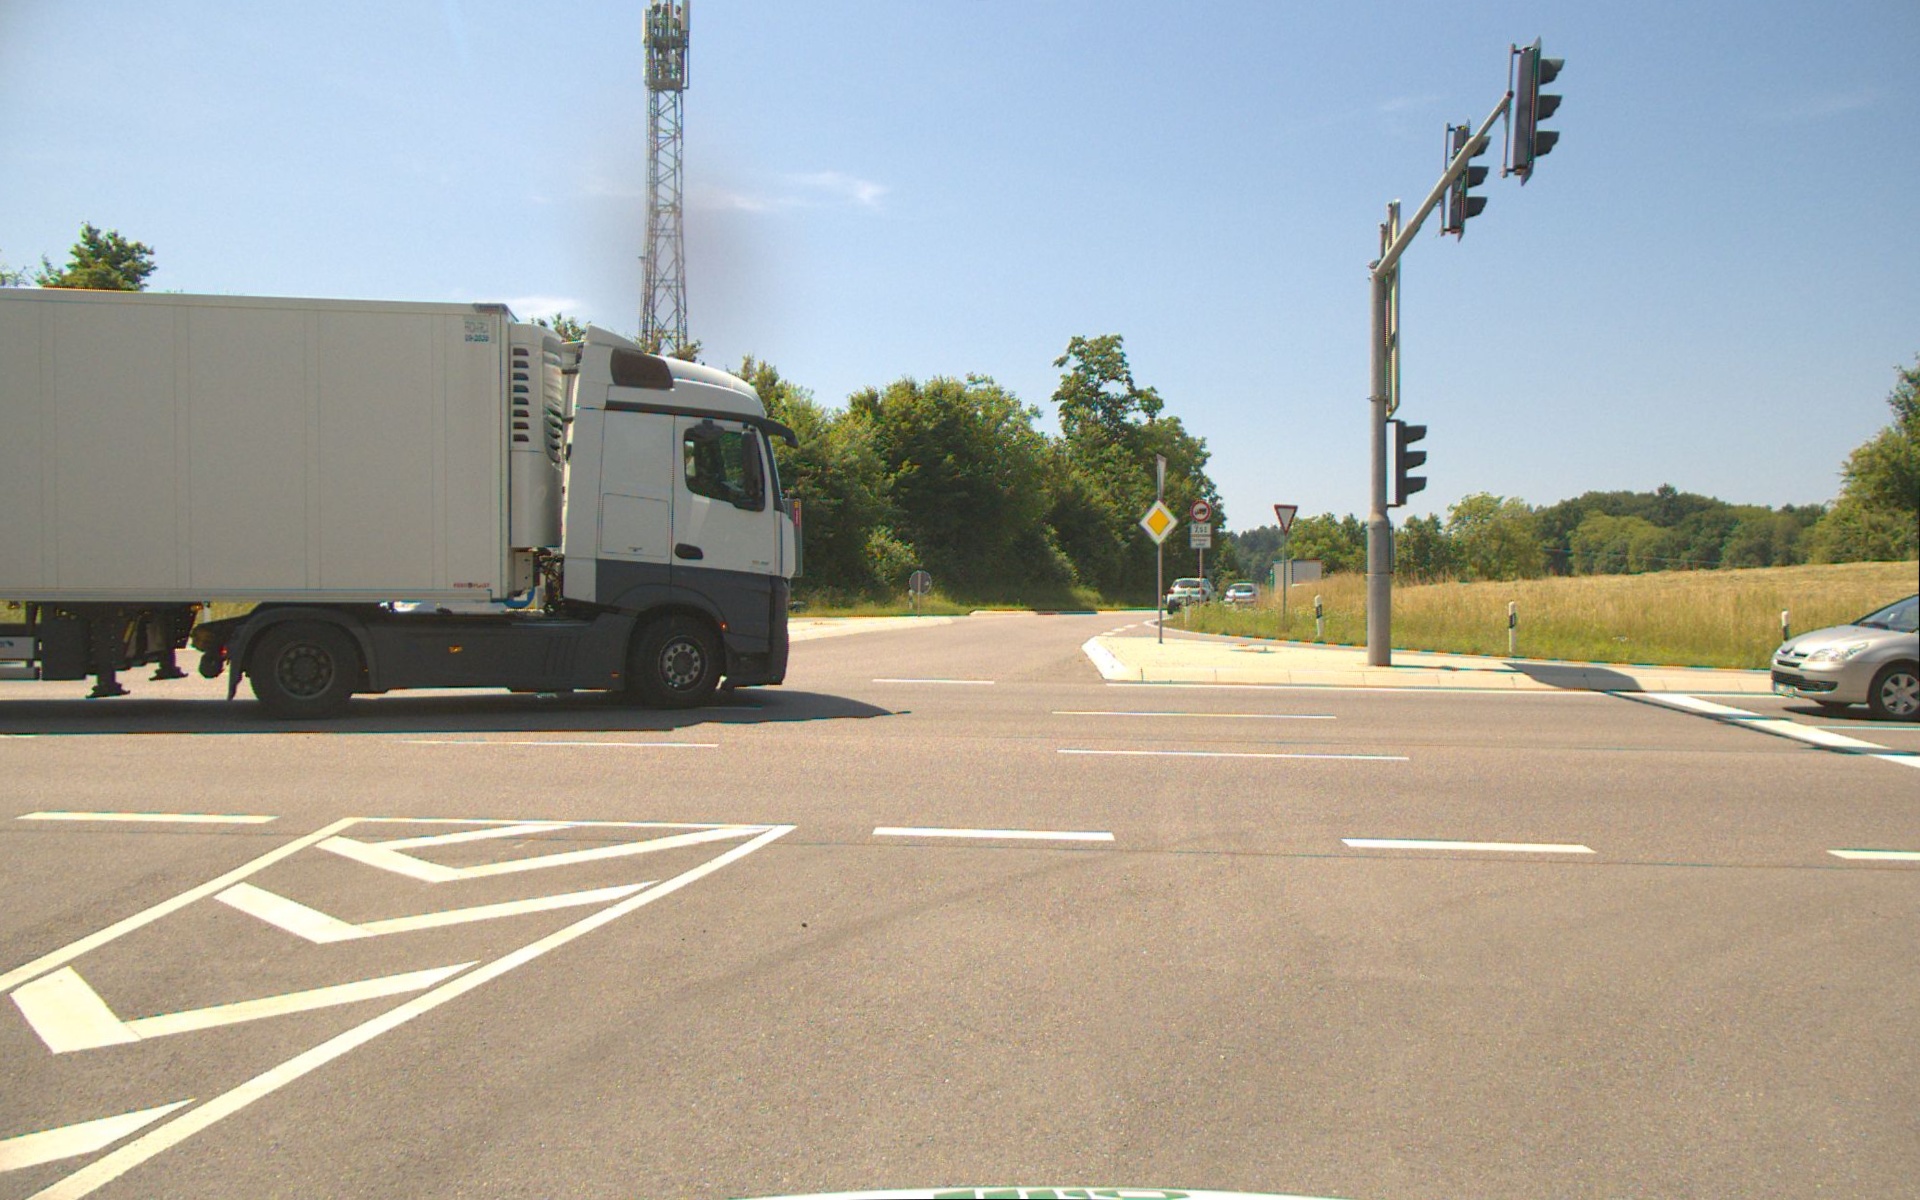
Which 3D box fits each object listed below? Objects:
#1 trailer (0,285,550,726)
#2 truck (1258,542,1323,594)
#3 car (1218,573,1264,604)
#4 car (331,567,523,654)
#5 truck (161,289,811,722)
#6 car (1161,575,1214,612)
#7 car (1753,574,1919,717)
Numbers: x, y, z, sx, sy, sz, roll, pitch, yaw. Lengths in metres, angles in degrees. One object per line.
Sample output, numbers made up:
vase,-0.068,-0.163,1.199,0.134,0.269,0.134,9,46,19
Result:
trailer,-11.152,-0.931,16.383,13.540,4.106,2.655,0,1,-10
truck,28.608,-2.746,144.099,3.060,4.245,16.693,0,1,3
car,13.950,-0.585,81.984,1.774,1.437,3.786,1,2,17
car,-9.284,0.132,29.070,1.532,1.394,3.534,1,2,15
truck,-4.764,-0.924,17.553,6.146,4.106,2.655,0,1,-10
car,9.511,-0.296,68.812,1.692,1.428,3.990,2,2,15
car,11.521,0.509,18.872,4.069,1.495,1.731,1,2,4
